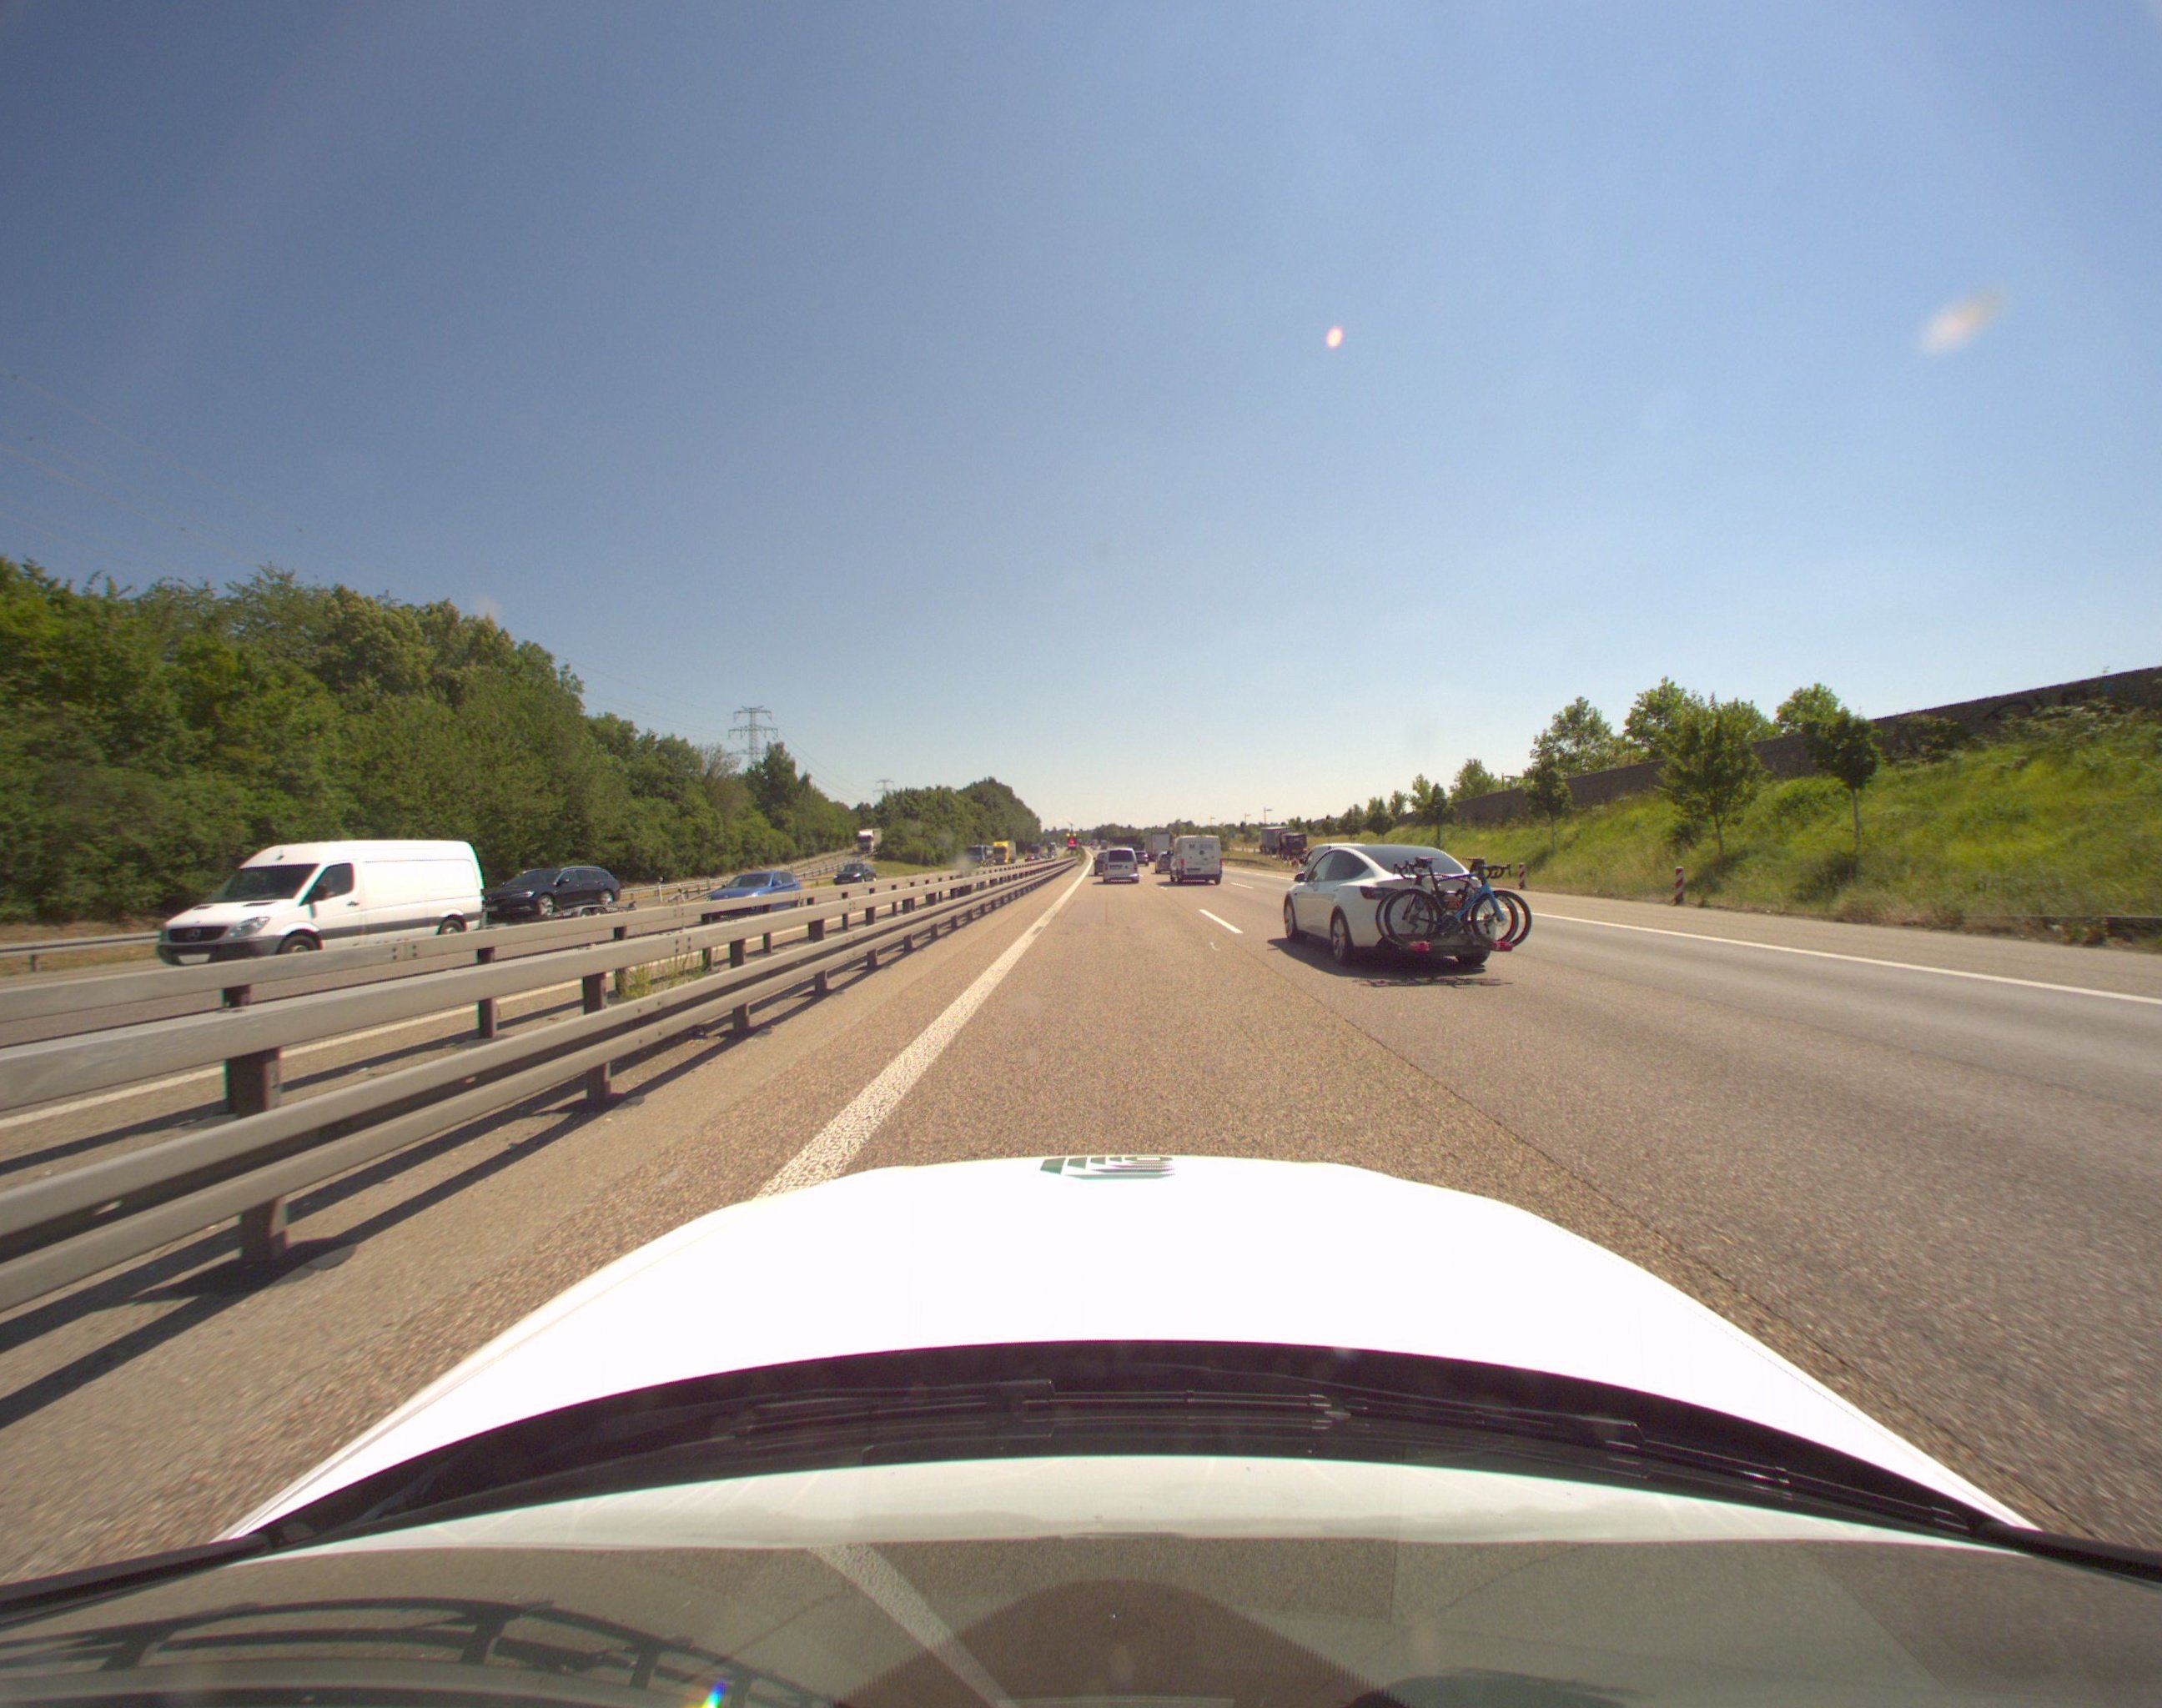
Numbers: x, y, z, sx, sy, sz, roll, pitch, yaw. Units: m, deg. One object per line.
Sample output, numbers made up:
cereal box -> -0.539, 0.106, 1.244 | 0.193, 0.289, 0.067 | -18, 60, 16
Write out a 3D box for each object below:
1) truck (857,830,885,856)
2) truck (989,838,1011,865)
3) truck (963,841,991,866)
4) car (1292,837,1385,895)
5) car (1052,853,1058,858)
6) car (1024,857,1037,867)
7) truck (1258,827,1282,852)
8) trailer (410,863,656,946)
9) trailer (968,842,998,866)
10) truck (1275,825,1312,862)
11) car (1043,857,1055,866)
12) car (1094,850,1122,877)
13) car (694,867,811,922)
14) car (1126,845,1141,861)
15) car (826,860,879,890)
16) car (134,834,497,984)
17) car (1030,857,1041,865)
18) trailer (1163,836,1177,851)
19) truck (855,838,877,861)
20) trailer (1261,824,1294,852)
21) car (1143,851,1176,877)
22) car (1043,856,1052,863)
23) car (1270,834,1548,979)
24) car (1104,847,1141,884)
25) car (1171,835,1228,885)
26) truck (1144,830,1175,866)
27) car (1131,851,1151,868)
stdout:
truck -> -38.590, -2.139, 150.187 | 2.993, 4.340, 14.513 | -2, 2, -7
truck -> -13.628, -0.438, 137.675 | 3.165, 4.341, 3.512 | -2, 0, -1
truck -> -14.305, -0.013, 112.219 | 2.903, 3.300, 5.332 | -2, 0, 1
car -> 8.992, 0.412, 28.816 | 1.944, 1.838, 4.177 | -2, 0, 0
car -> -8.113, 0.501, 256.938 | 1.763, 1.334, 4.921 | -3, 0, 1
car -> -9.108, 1.463, 147.213 | 1.776, 1.530, 4.385 | -4, 0, 1
truck -> 31.577, -2.387, 136.237 | 3.037, 4.083, 6.408 | 0, 0, 5
trailer -> -15.906, 1.329, 24.386 | 2.756, 1.946, 6.721 | -3, 0, -1
trailer -> -14.151, -0.003, 118.086 | 2.903, 3.300, 9.713 | -2, 0, 1
truck -> 24.974, -1.087, 96.259 | 3.762, 4.083, 12.562 | 0, 0, 13
car -> -5.830, 1.310, 149.000 | 1.775, 1.624, 4.001 | -2, 0, 1
car -> 1.806, 0.609, 54.596 | 1.738, 1.701, 4.091 | -2, 0, 2
car -> -10.370, 1.235, 26.070 | 1.775, 1.473, 4.357 | -3, 0, 2
car -> 6.623, -0.136, 103.417 | 1.668, 1.891, 4.090 | -2, 0, 2
car -> -15.222, 1.392, 54.501 | 2.151, 1.800, 4.512 | -3, 0, -1
car -> -16.181, 1.025, 17.912 | 2.102, 2.639, 6.006 | -3, 0, 1
car -> -9.430, 1.396, 168.033 | 1.705, 1.468, 4.149 | -4, 0, 3
trailer -> 26.442, -3.054, 242.775 | 2.597, 4.258, 18.421 | 0, 0, 1
truck -> -37.673, -0.819, 142.964 | 2.941, 3.895, 4.314 | -2, 2, -7
trailer -> 30.837, -2.427, 128.424 | 3.037, 4.083, 14.279 | 0, 0, 6
car -> 5.468, 0.680, 57.025 | 1.968, 1.733, 4.090 | -2, 0, 2
car -> -8.463, 1.380, 206.721 | 1.776, 1.530, 3.884 | -4, 0, 1
car -> 4.355, 0.603, 12.009 | 1.943, 1.636, 5.601 | 0, 0, 1
car -> 2.083, 0.579, 41.720 | 1.738, 1.764, 4.090 | -2, 0, 2
car -> 5.641, 0.271, 39.515 | 2.173, 2.254, 5.366 | -1, 0, 2
truck -> 11.386, -0.750, 118.738 | 3.773, 5.000, 12.524 | 0, 0, 2
car -> 6.264, 0.578, 85.581 | 1.894, 1.672, 4.090 | -2, 0, 2
